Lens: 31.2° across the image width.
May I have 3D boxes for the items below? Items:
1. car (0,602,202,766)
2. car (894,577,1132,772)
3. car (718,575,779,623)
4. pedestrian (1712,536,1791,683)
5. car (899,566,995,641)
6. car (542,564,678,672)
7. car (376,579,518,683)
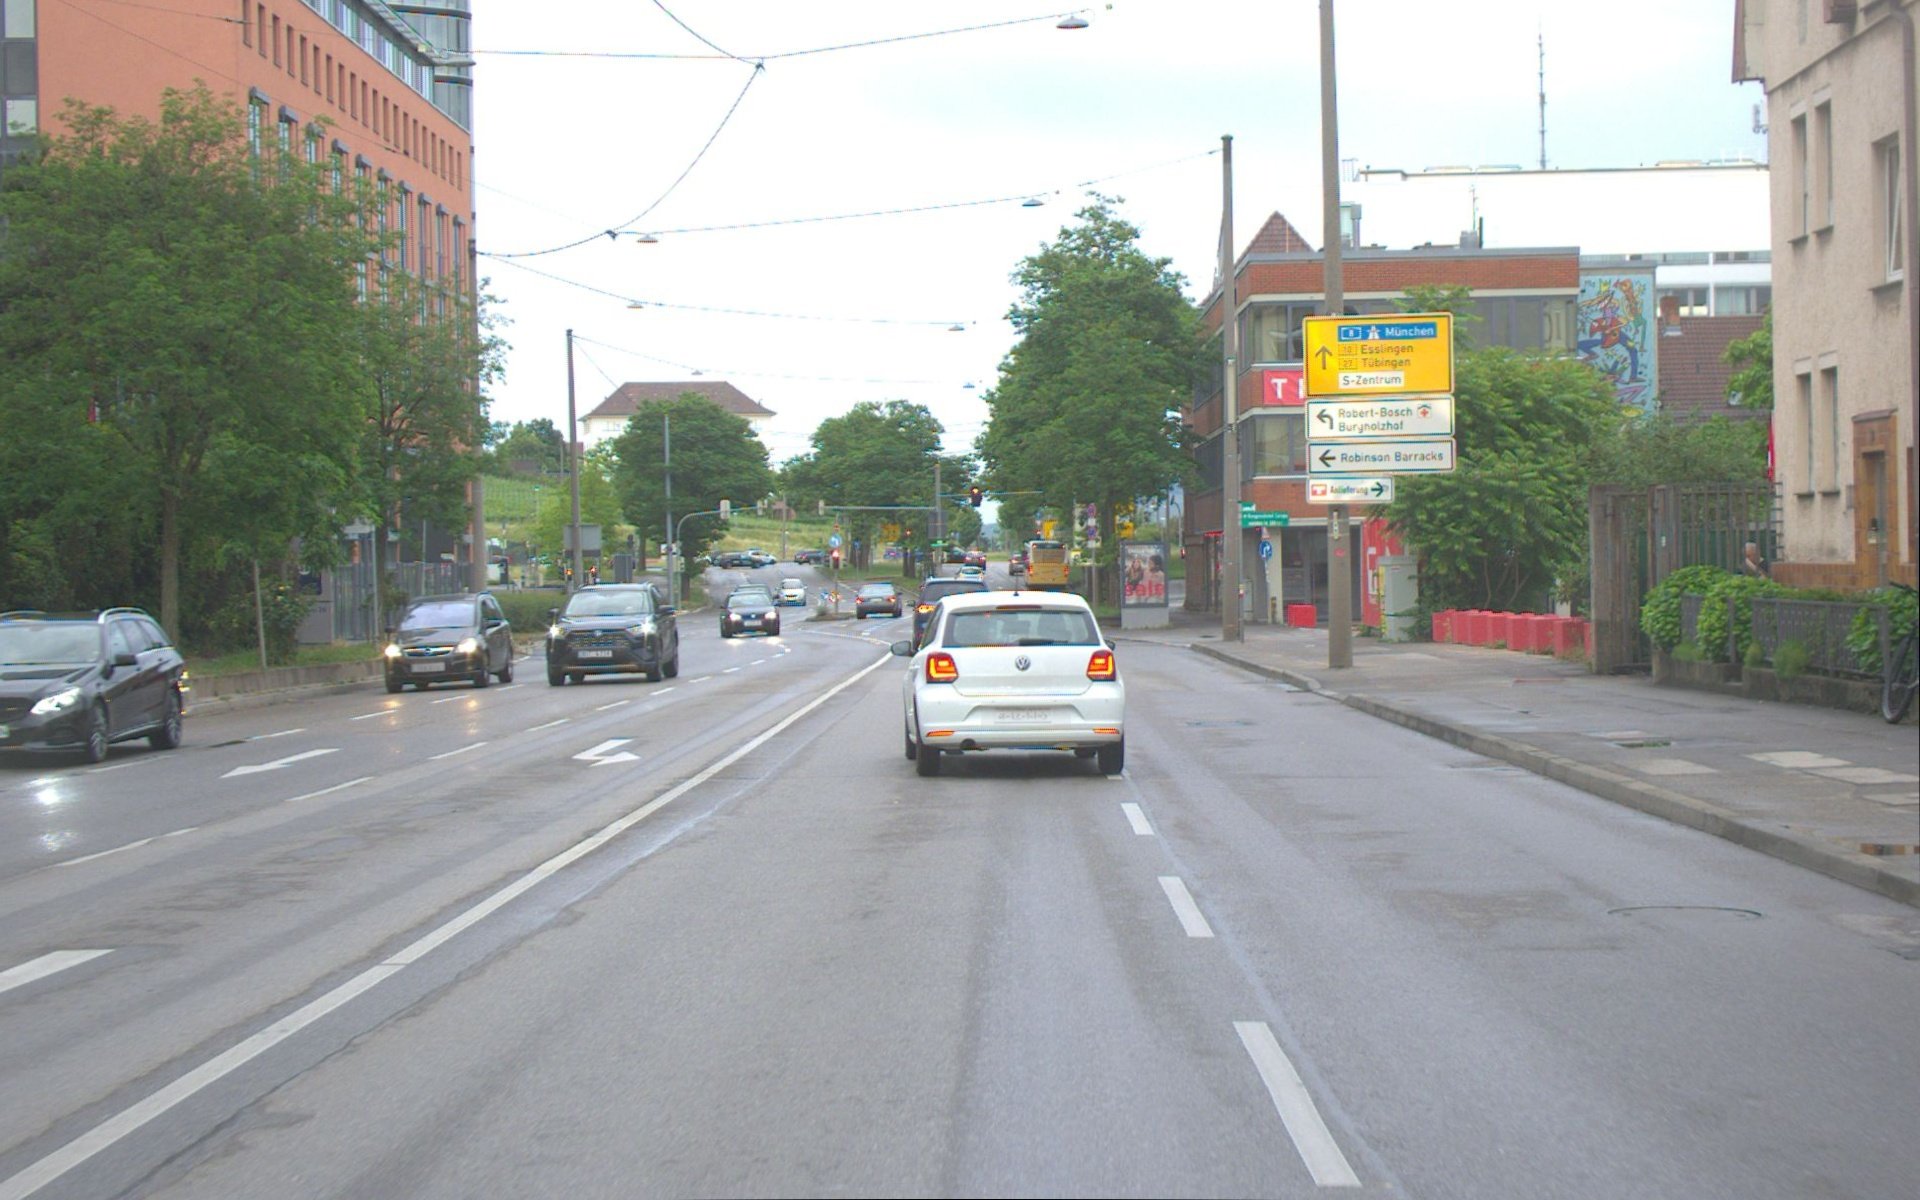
[{"bbox_3d":[-9.052,0.805,34.722,1.733,1.472,4.699,-2,0,0],"label":"car"},{"bbox_3d":[0.376,0.560,28.338,1.671,1.469,3.780,-1,0,-3],"label":"car"},{"bbox_3d":[-6.770,-0.040,110.161,1.659,1.481,3.820,-1,0,1],"label":"car"},{"bbox_3d":[9.613,0.107,41.785,0.911,1.758,0.767,1,1,13],"label":"pedestrian"},{"bbox_3d":[-0.255,0.056,75.128,1.993,1.568,4.000,-1,0,1],"label":"car"},{"bbox_3d":[-5.851,0.272,57.964,1.756,1.550,4.451,-3,2,0],"label":"car"},{"bbox_3d":[-8.822,0.502,59.413,1.708,1.560,4.034,-3,1,1],"label":"car"}]
